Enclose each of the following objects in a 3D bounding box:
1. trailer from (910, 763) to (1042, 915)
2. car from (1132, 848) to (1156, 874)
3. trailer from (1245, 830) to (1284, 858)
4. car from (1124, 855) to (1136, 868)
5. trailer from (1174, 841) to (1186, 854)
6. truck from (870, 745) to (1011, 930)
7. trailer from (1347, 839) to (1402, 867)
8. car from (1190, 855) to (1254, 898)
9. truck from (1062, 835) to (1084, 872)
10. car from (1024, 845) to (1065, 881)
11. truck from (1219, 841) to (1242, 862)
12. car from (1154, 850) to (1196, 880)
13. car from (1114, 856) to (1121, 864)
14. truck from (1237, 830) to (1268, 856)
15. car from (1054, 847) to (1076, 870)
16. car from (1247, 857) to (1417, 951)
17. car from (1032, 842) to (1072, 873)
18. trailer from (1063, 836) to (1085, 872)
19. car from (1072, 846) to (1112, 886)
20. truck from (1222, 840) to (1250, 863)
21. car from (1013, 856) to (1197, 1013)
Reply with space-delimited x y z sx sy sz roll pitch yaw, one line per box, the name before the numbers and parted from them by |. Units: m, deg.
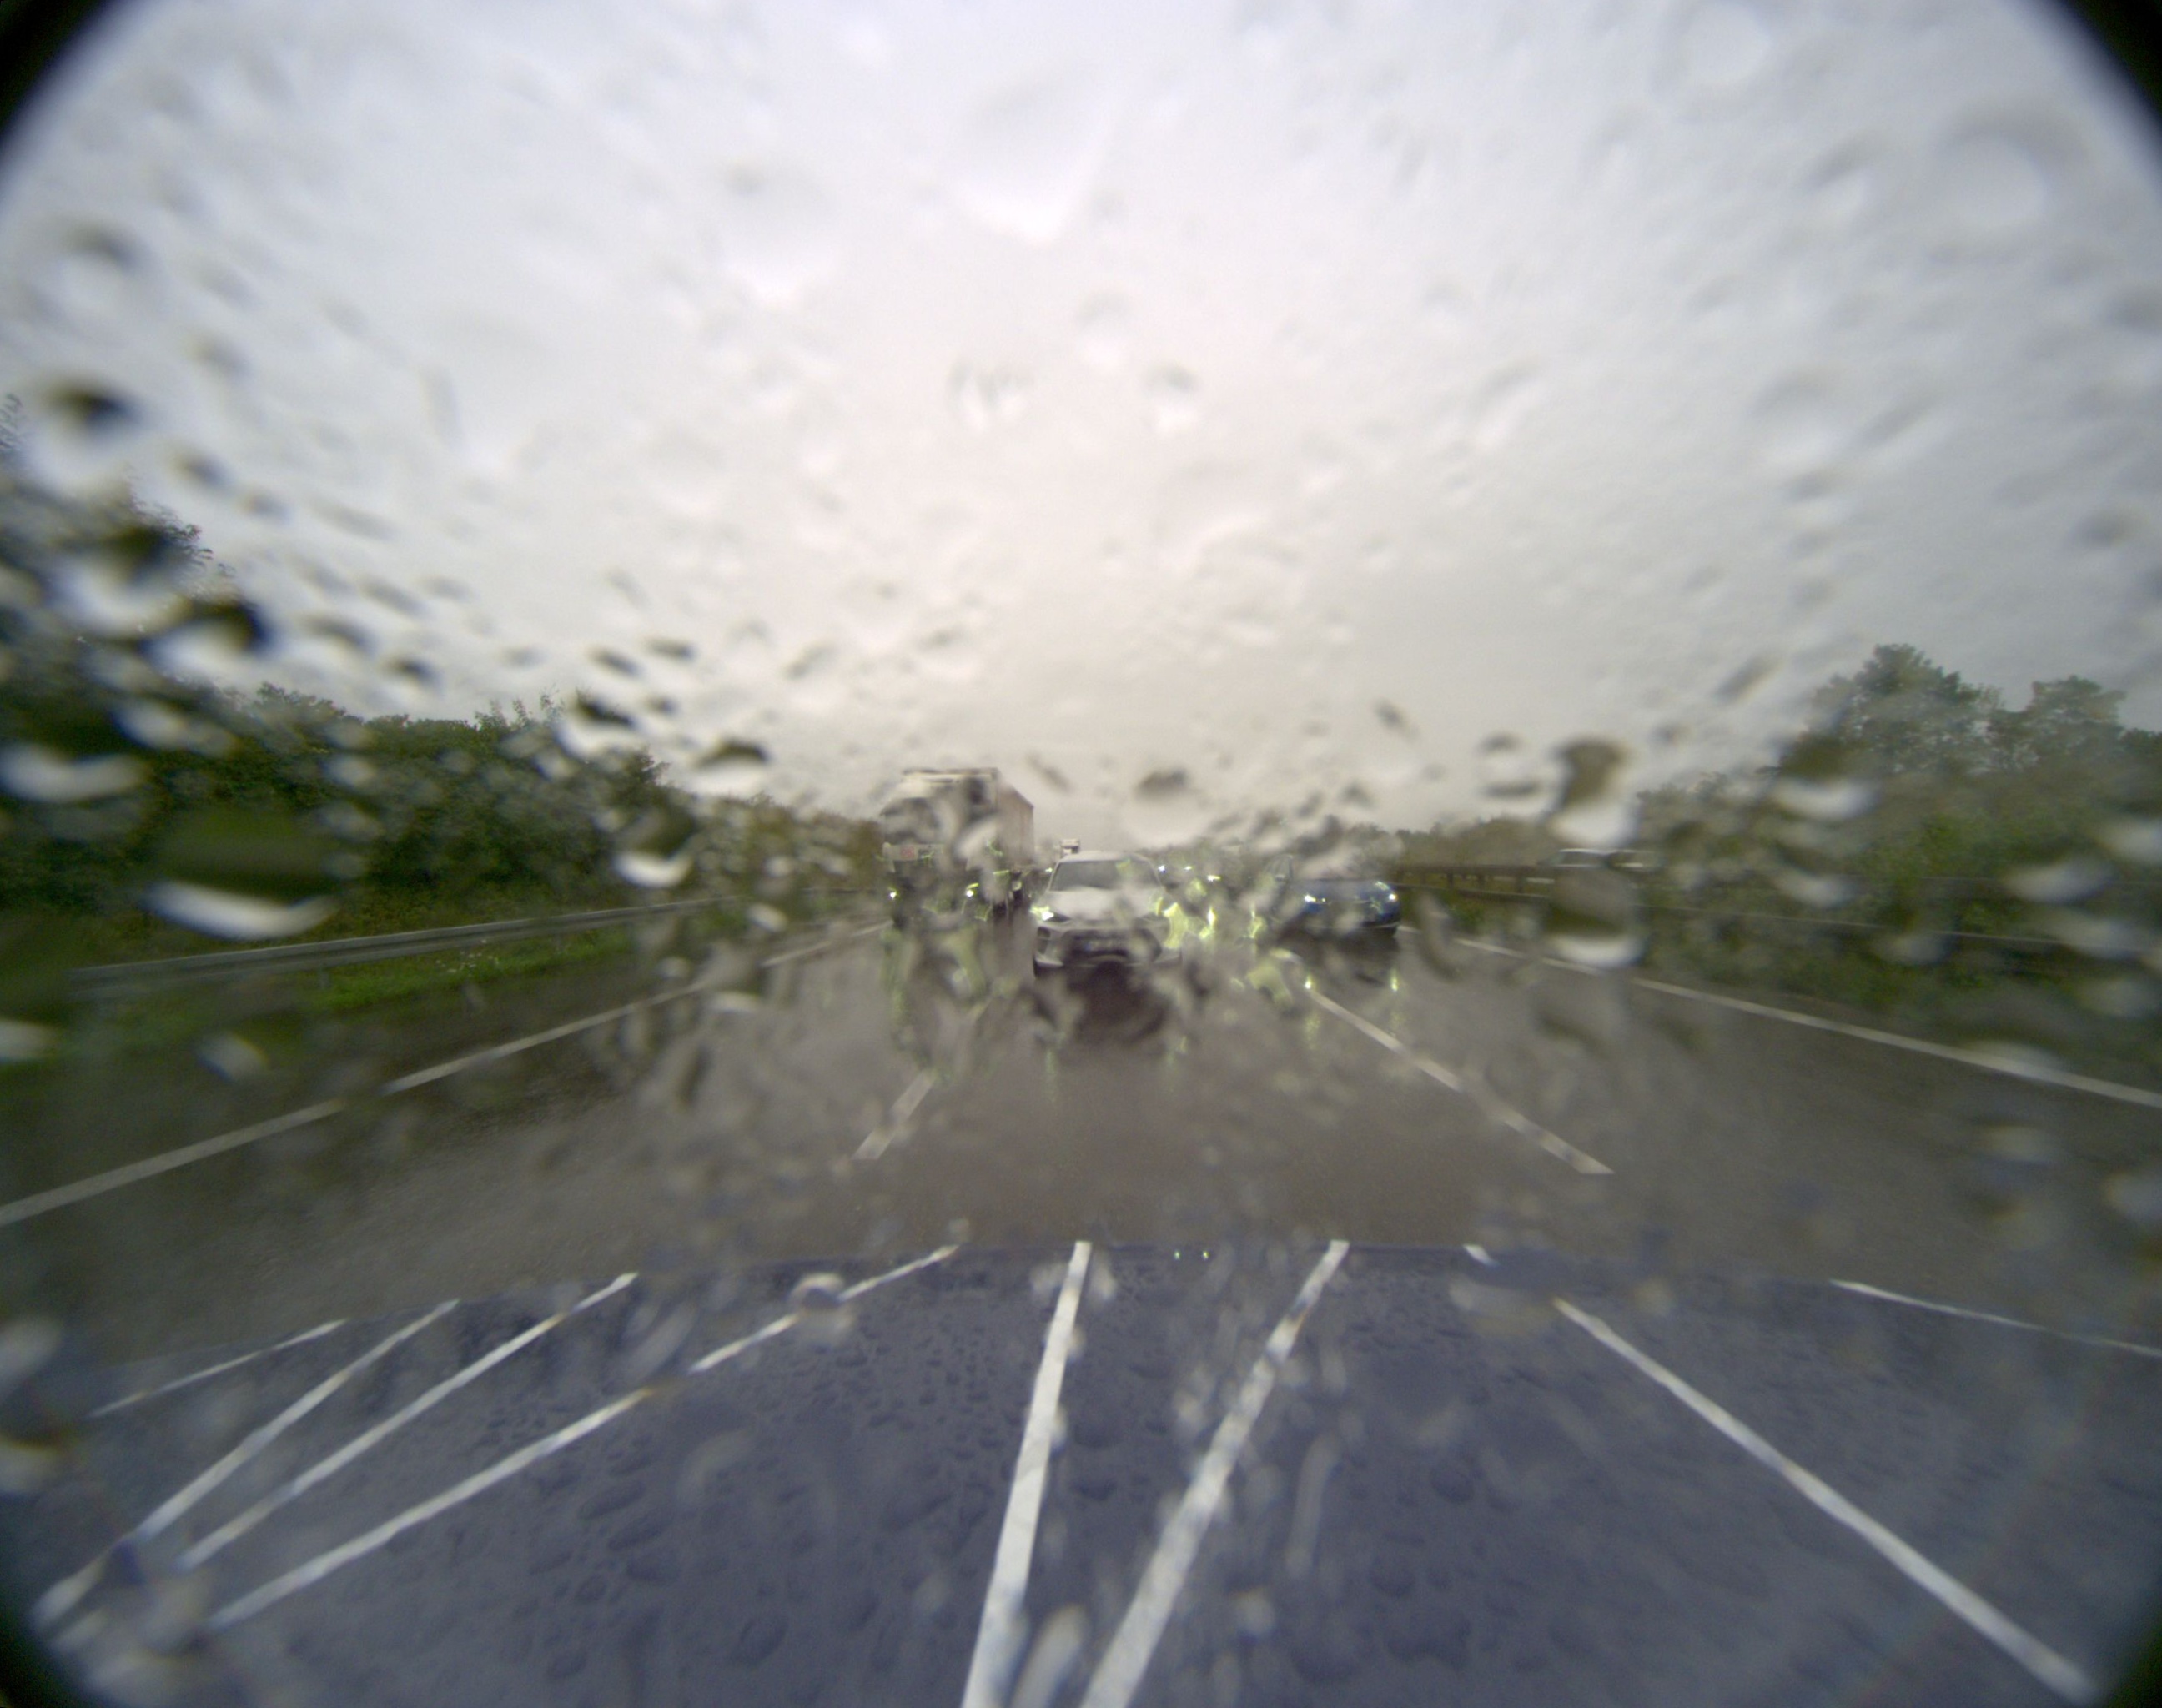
trailer | -3.356 -0.489 28.670 2.633 4.224 14.175 -2 1 1
car | 5.248 0.554 63.279 1.888 2.002 4.270 -1 0 4
trailer | 18.706 -1.102 77.946 2.487 2.704 7.323 0 2 2
car | 6.201 0.923 96.705 1.458 1.540 2.804 0 2 1
trailer | 24.989 -1.648 191.883 1.998 3.064 8.872 -1 0 1
truck | -3.507 -0.394 20.259 2.633 4.229 5.043 -2 1 0
trailer | 22.027 -0.141 57.223 2.097 2.002 5.349 0 2 1
car | 5.178 0.784 28.397 1.613 1.428 4.370 -1 0 1
truck | -1.019 -0.059 98.615 2.628 4.635 4.290 -1 0 1
car | -2.176 0.502 46.470 1.946 2.002 4.447 -2 1 3
truck | 23.565 -0.430 120.043 2.547 3.261 5.197 1 1 0
car | 5.302 0.603 43.377 1.888 1.622 4.269 -1 0 1
car | 7.079 1.148 148.405 1.279 1.567 2.848 -1 0 1
truck | 18.918 -1.250 83.883 2.487 2.704 4.527 0 2 2
car | -1.576 0.424 76.937 1.998 2.231 4.000 -1 0 1
car | 4.502 0.808 14.409 1.790 1.467 4.512 -1 0 1
car | -1.964 0.211 53.009 2.260 2.002 4.270 -2 1 4
trailer | -0.899 -0.012 103.694 2.628 4.635 9.222 -1 0 1
car | 0.634 0.614 41.124 1.998 2.002 4.000 -1 0 2
truck | 23.500 -0.385 115.537 2.561 3.279 9.346 0 2 1
car | 0.288 0.851 9.973 1.893 1.578 4.000 -1 0 1
